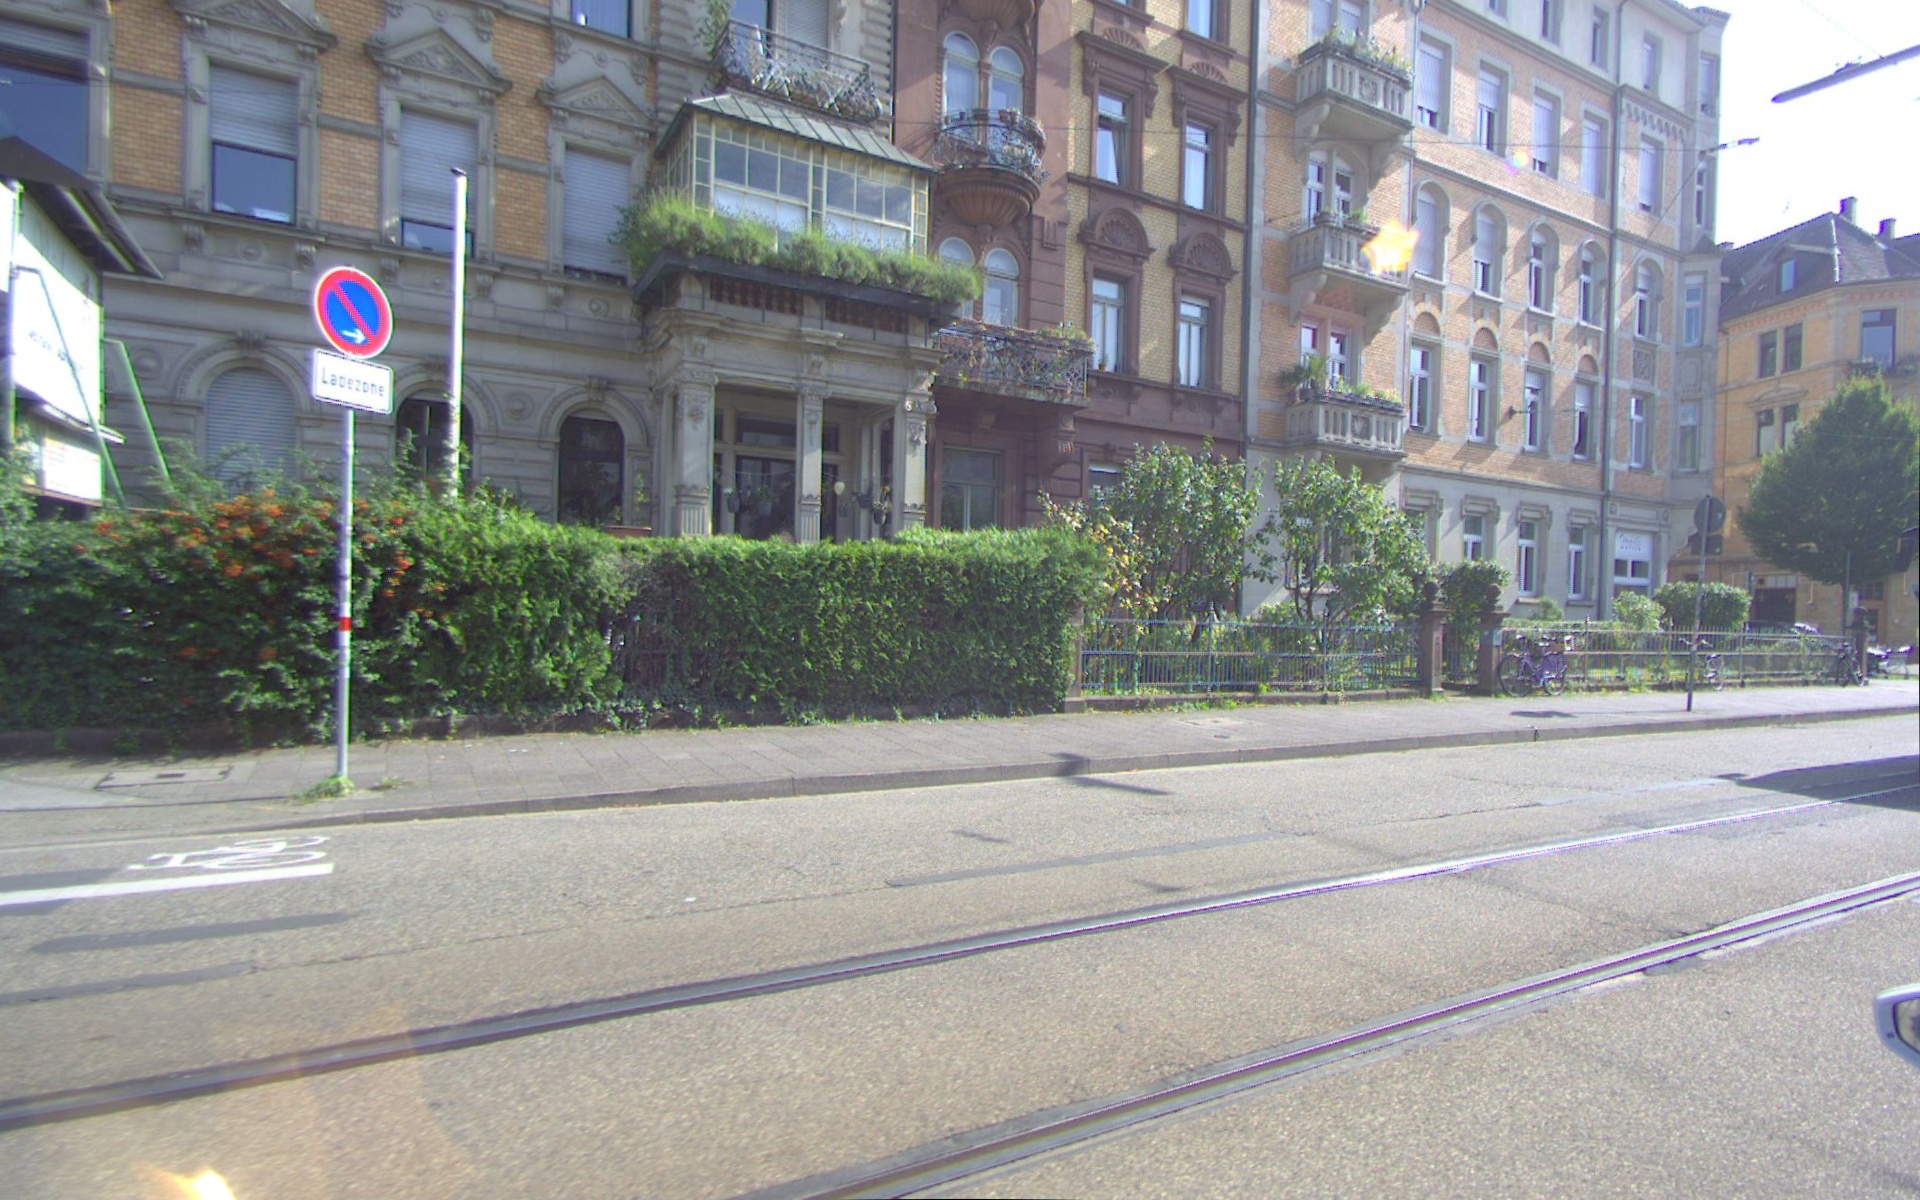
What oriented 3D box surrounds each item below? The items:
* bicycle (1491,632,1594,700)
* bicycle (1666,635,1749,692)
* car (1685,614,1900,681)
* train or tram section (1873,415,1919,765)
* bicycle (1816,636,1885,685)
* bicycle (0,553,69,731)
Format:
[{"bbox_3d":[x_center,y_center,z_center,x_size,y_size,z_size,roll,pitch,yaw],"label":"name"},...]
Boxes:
[{"bbox_3d":[10.081,1.126,17.372,1.817,1.072,0.604,2,4,-28],"label":"bicycle"},{"bbox_3d":[15.141,1.273,20.333,1.817,1.072,0.542,2,4,-28],"label":"bicycle"},{"bbox_3d":[22.867,1.271,27.757,2.040,1.563,4.117,3,0,-30],"label":"car"},{"bbox_3d":[16.794,0.104,13.151,15.253,3.552,2.721,2,1,-31],"label":"train or tram section"},{"bbox_3d":[21.136,1.425,23.832,1.817,1.072,0.542,2,4,-28],"label":"bicycle"},{"bbox_3d":[-9.117,0.300,9.286,0.988,1.474,2.855,1,1,-35],"label":"bicycle"}]
